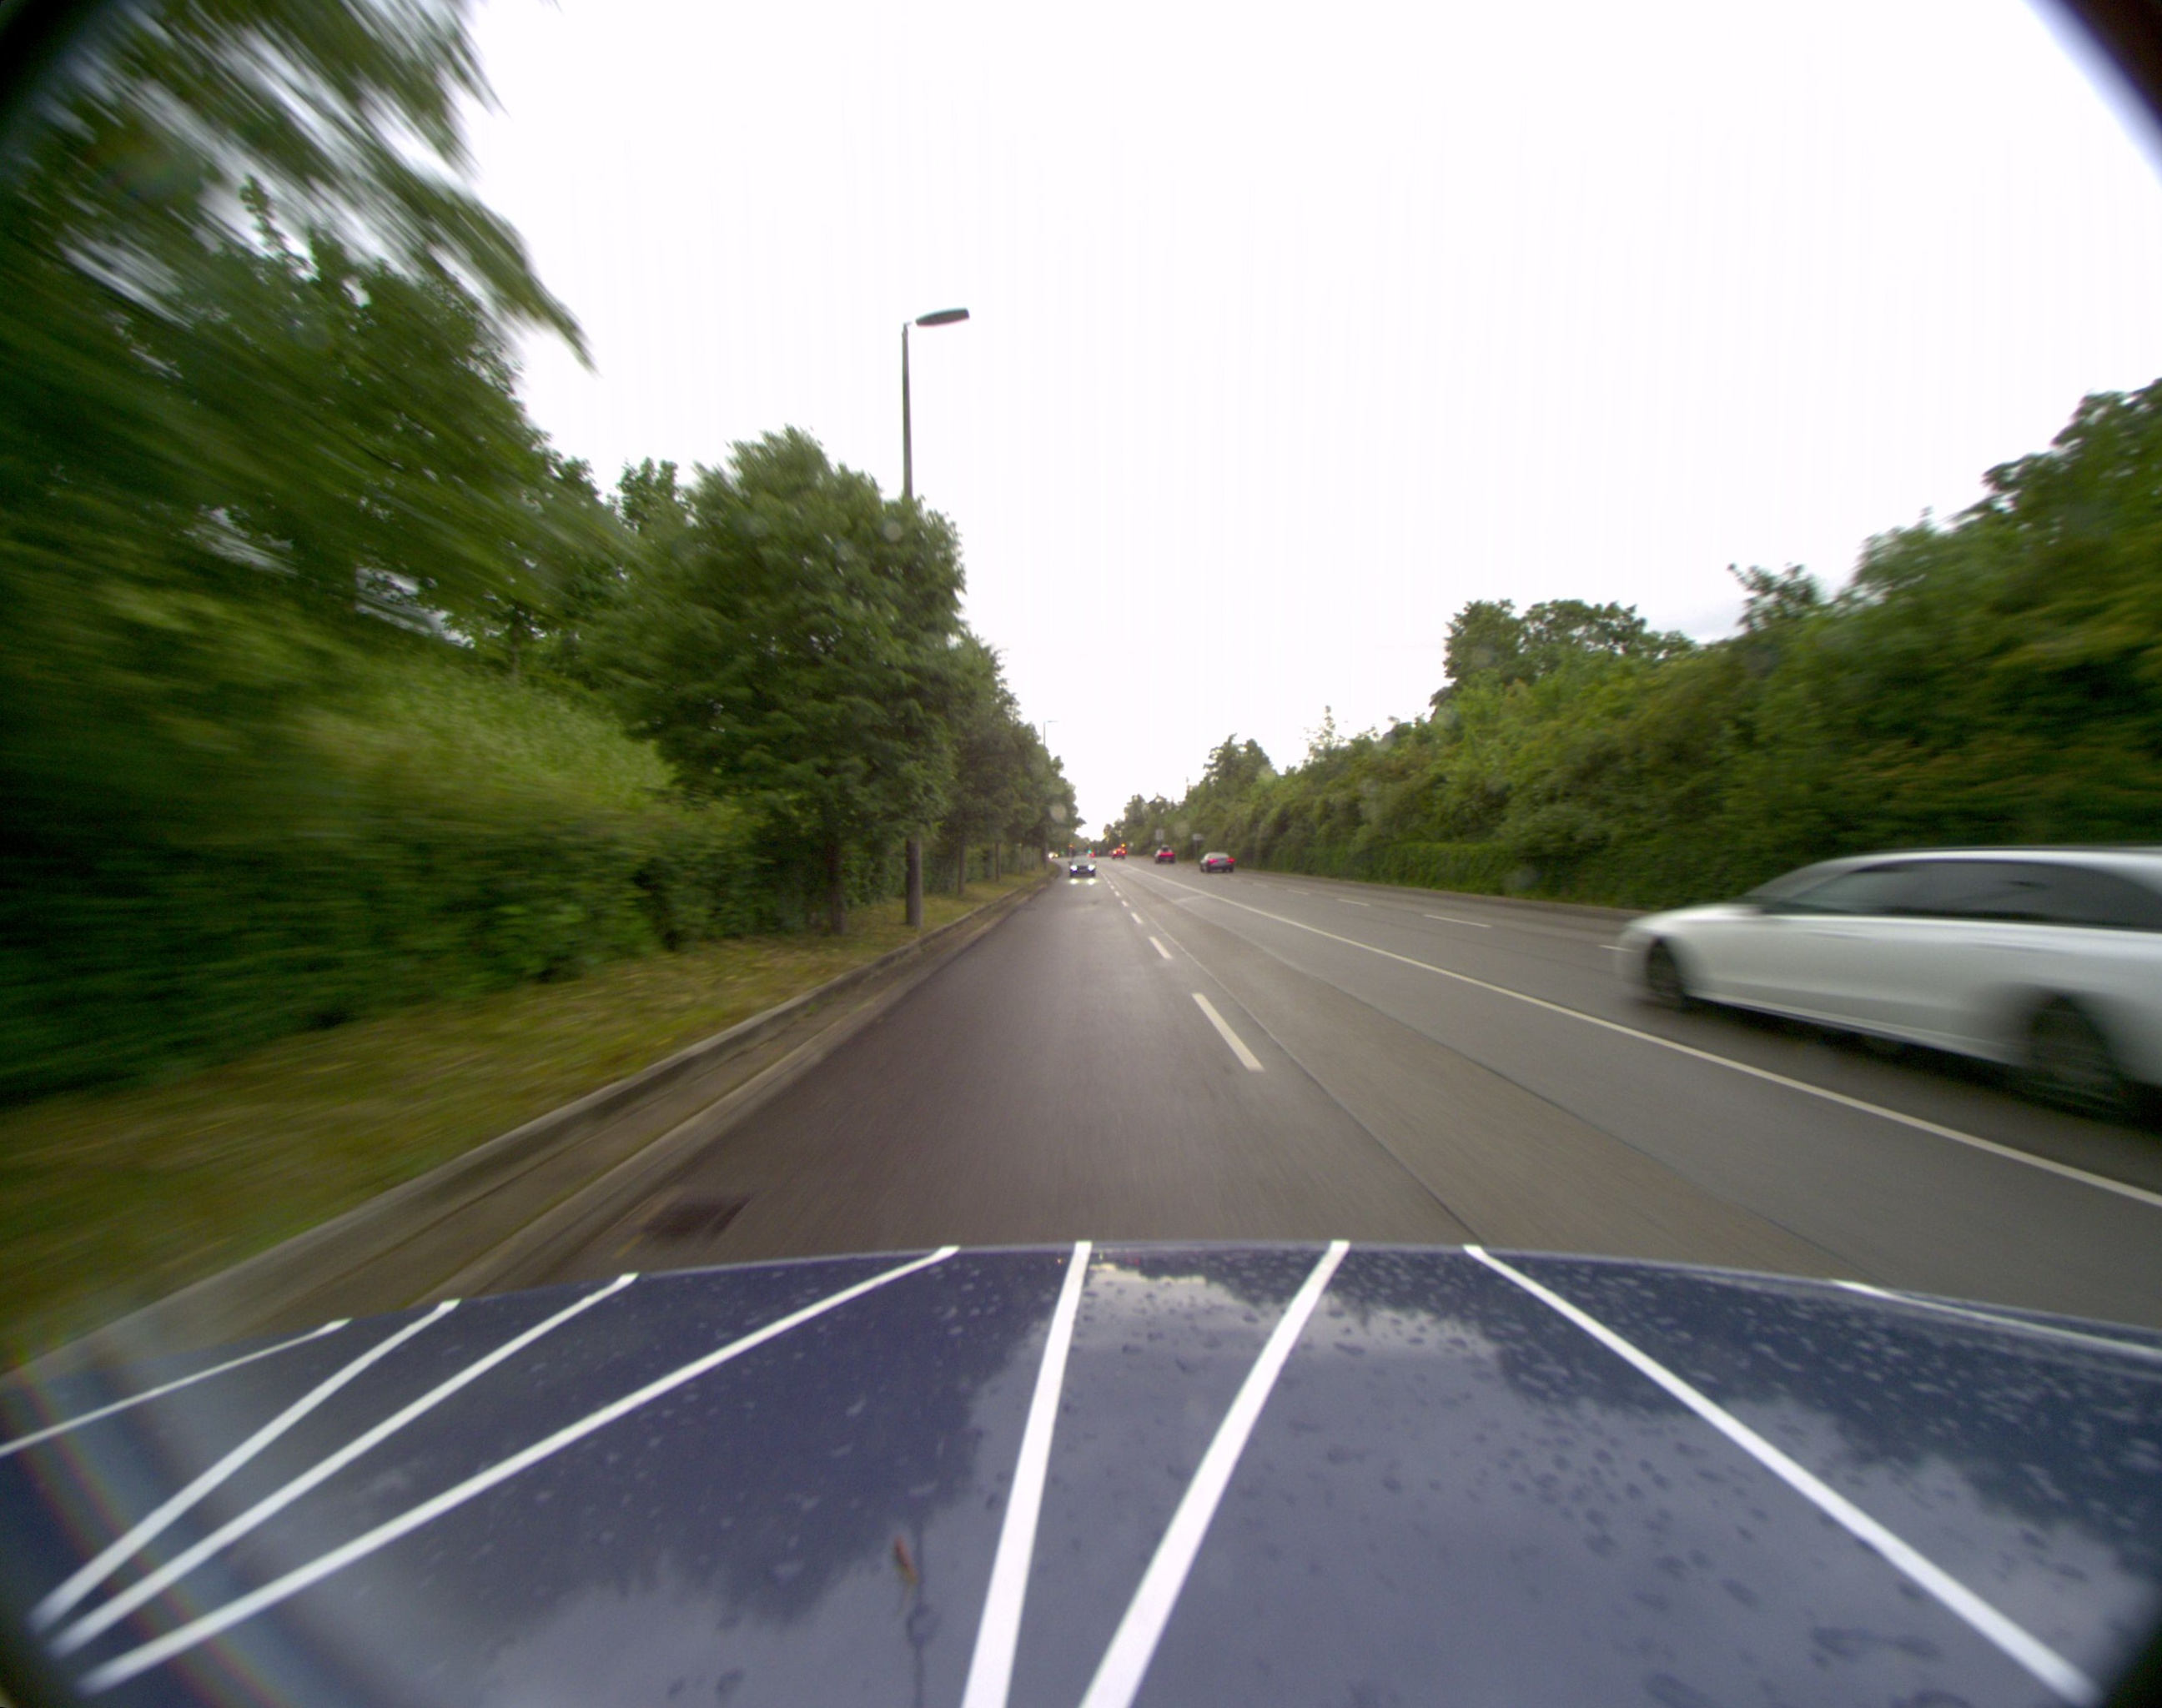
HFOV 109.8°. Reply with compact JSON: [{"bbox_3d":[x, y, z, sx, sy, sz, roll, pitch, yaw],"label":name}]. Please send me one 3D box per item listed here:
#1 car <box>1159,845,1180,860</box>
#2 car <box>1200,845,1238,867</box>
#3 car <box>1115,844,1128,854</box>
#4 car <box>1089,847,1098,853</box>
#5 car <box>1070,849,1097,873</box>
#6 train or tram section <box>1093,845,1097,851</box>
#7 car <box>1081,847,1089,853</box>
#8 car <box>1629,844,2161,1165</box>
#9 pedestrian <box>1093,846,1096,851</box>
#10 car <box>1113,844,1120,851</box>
[{"bbox_3d":[10.089,-0.182,87.043,1.903,1.544,4.630,-2,1,1],"label":"car"},{"bbox_3d":[9.690,0.137,53.748,1.764,1.373,4.838,-2,0,1],"label":"car"},{"bbox_3d":[6.662,-0.838,124.825,1.817,1.648,4.594,-2,1,0],"label":"car"},{"bbox_3d":[3.606,-1.100,218.838,1.806,1.597,4.424,-2,1,-8],"label":"car"},{"bbox_3d":[0.139,0.480,53.665,1.738,1.577,4.284,-1,1,-2],"label":"car"},{"bbox_3d":[3.550,-1.494,197.180,0.793,1.561,2.382,-3,1,-3],"label":"train or tram section"},{"bbox_3d":[1.031,-0.945,187.104,1.782,1.459,3.996,-1,1,-2],"label":"car"},{"bbox_3d":[6.101,0.721,5.016,1.719,1.496,4.516,-2,0,1],"label":"car"},{"bbox_3d":[3.550,-1.494,197.174,0.793,1.376,0.974,-3,2,-3],"label":"pedestrian"},{"bbox_3d":[8.115,-1.444,174.642,1.552,1.429,3.695,-1,1,0],"label":"car"}]
